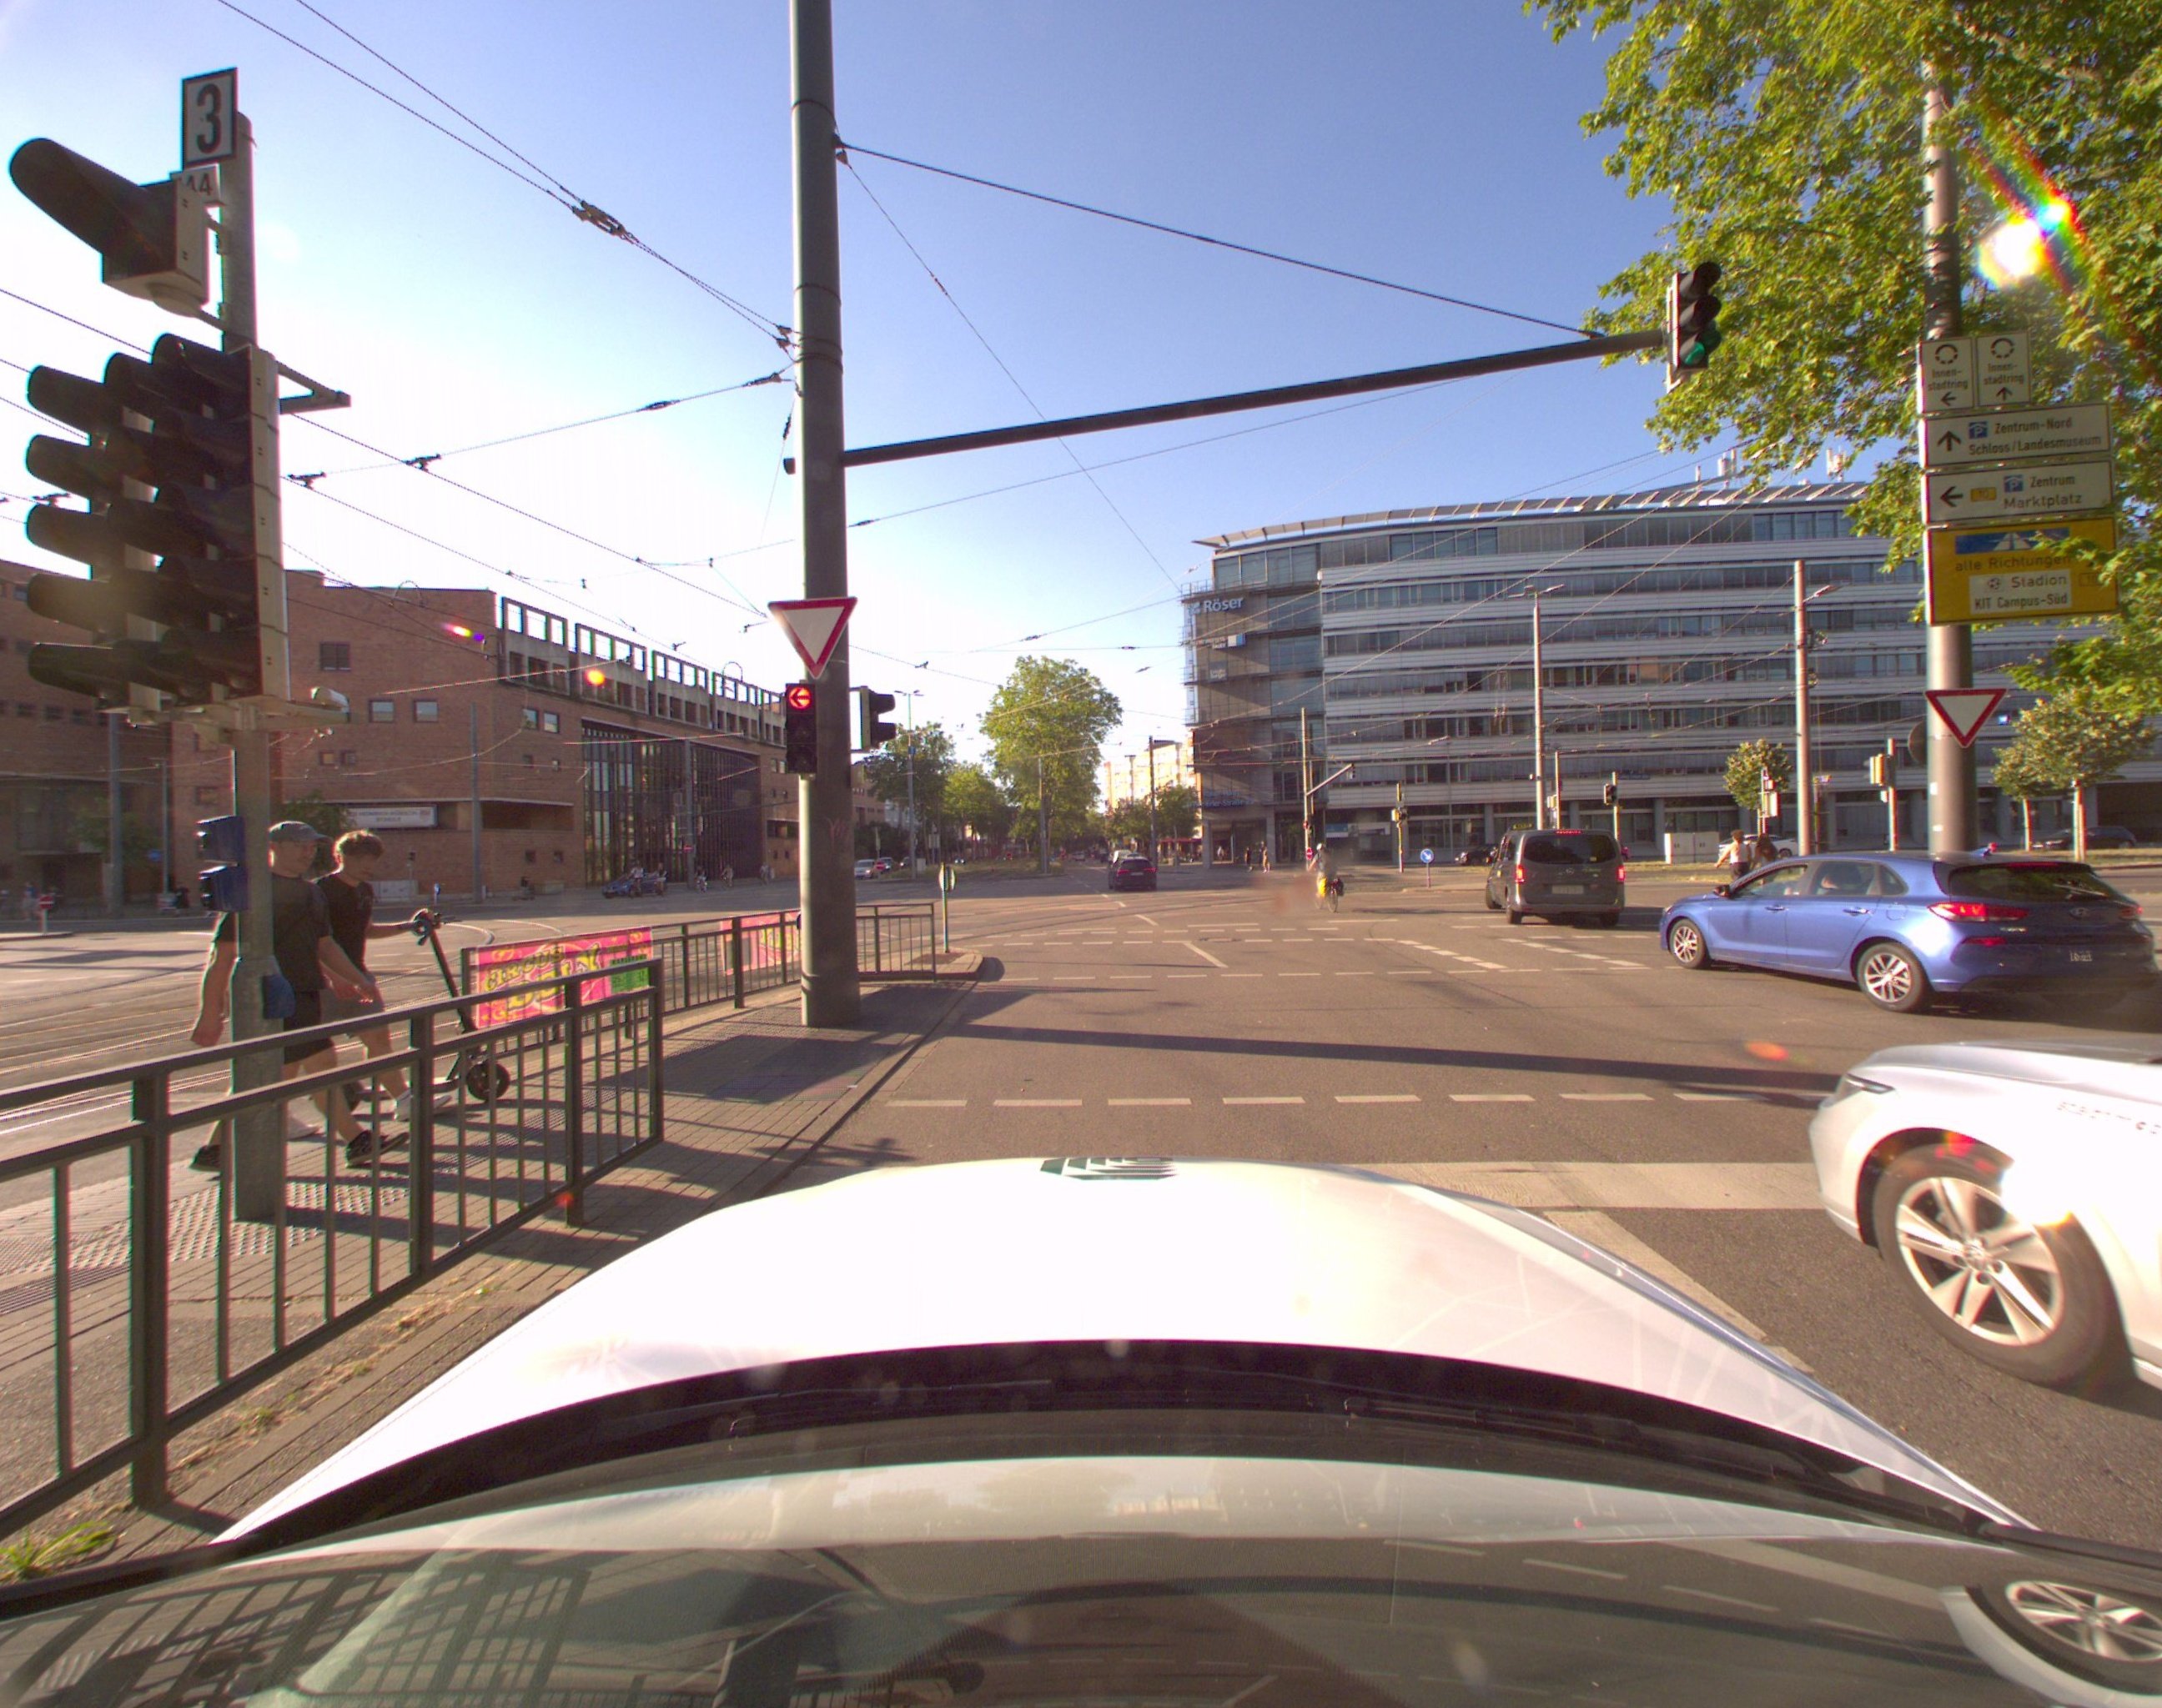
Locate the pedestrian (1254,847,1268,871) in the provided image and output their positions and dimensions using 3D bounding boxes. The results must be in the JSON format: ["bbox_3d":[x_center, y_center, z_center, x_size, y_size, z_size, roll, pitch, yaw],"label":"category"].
[{"bbox_3d":[13.162,0.353,59.529,0.866,1.707,0.794,0,-1,1],"label":"pedestrian"}]

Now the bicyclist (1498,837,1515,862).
[{"bbox_3d":[25.628,-0.262,49.051,0.660,1.503,0.614,-2,0,7],"label":"bicyclist"}]

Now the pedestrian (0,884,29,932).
[{"bbox_3d":[-45.661,2.282,34.549,0.782,1.983,0.927,-2,0,0],"label":"pedestrian"}]

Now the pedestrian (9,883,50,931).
[{"bbox_3d":[-45.698,2.289,35.400,0.782,1.983,0.751,-2,0,-1],"label":"pedestrian"}]

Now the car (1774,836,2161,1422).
[{"bbox_3d":[3.446,0.680,1.138,1.740,1.418,4.004,-1,1,4],"label":"car"}]

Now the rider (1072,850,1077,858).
[{"bbox_3d":[-1.572,0.086,206.341,1.268,2.014,0.954,0,-1,-5],"label":"rider"}]

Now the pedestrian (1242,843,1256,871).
[{"bbox_3d":[12.301,0.233,59.564,0.846,2.014,0.708,0,-1,1],"label":"pedestrian"}]

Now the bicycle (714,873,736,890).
[{"bbox_3d":[-24.168,1.857,55.347,0.650,1.050,2.010,-1,0,-3],"label":"bicycle"}]

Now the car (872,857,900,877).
[{"bbox_3d":[-18.070,1.185,75.660,1.819,1.790,3.994,-2,0,-4],"label":"car"}]

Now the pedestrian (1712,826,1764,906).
[{"bbox_3d":[14.858,0.257,18.444,0.671,1.759,0.746,-2,0,22],"label":"pedestrian"}]

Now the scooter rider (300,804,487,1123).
[{"bbox_3d":[-4.281,0.650,5.107,0.563,1.853,0.681,-2,-2,6],"label":"scooter rider"}]

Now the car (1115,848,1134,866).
[{"bbox_3d":[4.739,0.341,89.717,1.986,2.014,4.001,0,-1,2],"label":"car"}]

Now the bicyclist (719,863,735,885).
[{"bbox_3d":[-24.204,1.340,55.644,0.652,1.474,1.031,-1,-1,-3],"label":"bicyclist"}]

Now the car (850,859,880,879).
[{"bbox_3d":[-17.961,1.225,67.888,1.618,1.577,3.994,-2,0,-4],"label":"car"}]

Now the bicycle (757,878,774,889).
[{"bbox_3d":[-24.123,2.251,62.225,0.588,0.771,1.966,-2,0,-2],"label":"bicycle"}]

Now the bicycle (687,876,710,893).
[{"bbox_3d":[-24.137,1.907,51.419,0.692,0.998,1.898,-2,0,-5],"label":"bicycle"}]

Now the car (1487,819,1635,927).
[{"bbox_3d":[9.790,0.324,17.021,1.983,1.896,4.909,-1,0,23],"label":"car"}]

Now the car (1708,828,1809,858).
[{"bbox_3d":[37.554,-0.579,45.232,3.968,1.596,1.884,0,-1,5],"label":"car"}]

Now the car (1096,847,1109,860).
[{"bbox_3d":[3.304,-0.033,126.698,1.986,2.014,4.001,0,-1,2],"label":"car"}]

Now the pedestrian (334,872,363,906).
[{"bbox_3d":[-45.877,2.199,50.998,1.003,2.052,0.850,-2,0,-1],"label":"pedestrian"}]

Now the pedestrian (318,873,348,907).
[{"bbox_3d":[-45.795,2.189,49.866,1.003,2.052,0.850,-2,0,-1],"label":"pedestrian"}]

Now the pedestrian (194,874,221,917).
[{"bbox_3d":[-41.908,1.972,39.072,0.615,2.013,0.726,-2,0,-28],"label":"pedestrian"}]

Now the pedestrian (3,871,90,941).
[{"bbox_3d":[-30.887,1.542,24.349,1.029,2.014,1.208,0,-1,1],"label":"pedestrian"}]

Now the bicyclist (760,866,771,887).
[{"bbox_3d":[-24.147,1.725,62.273,0.585,1.625,0.514,-2,0,-3],"label":"bicyclist"}]

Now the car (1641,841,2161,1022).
[{"bbox_3d":[8.273,0.628,8.768,1.741,1.459,4.215,-1,0,3],"label":"car"}]

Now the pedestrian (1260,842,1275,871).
[{"bbox_3d":[13.253,0.186,57.856,0.866,2.014,0.794,0,-1,1],"label":"pedestrian"}]

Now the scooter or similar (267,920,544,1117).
[{"bbox_3d":[-4.189,0.996,5.104,1.196,1.081,0.649,-2,0,5],"label":"scooter or similar"}]

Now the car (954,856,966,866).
[{"bbox_3d":[-21.062,1.220,142.050,1.673,1.607,3.994,0,-1,-4],"label":"car"}]

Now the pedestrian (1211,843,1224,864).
[{"bbox_3d":[14.095,-0.053,84.358,1.305,2.190,1.173,0,-1,8],"label":"pedestrian"}]

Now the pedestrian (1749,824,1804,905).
[{"bbox_3d":[15.525,0.234,18.191,0.677,1.759,0.746,-2,0,22],"label":"pedestrian"}]

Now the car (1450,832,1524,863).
[{"bbox_3d":[27.210,-0.408,54.615,3.972,2.014,2.001,0,-1,2],"label":"car"}]

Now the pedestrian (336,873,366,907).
[{"bbox_3d":[-44.733,2.190,49.930,1.003,2.052,0.850,-2,0,-1],"label":"pedestrian"}]

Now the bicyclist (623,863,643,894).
[{"bbox_3d":[-23.938,1.303,43.549,0.660,1.574,0.756,-2,0,-9],"label":"bicyclist"}]

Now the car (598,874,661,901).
[{"bbox_3d":[-27.177,2.001,49.133,1.574,1.376,3.718,-2,0,3],"label":"car"}]

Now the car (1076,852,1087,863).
[{"bbox_3d":[0.039,0.697,160.319,1.985,2.014,4.002,0,-3,3],"label":"car"}]

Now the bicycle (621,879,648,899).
[{"bbox_3d":[-23.963,1.866,43.761,0.653,0.998,1.895,-2,0,-9],"label":"bicycle"}]

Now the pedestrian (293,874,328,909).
[{"bbox_3d":[-45.626,2.206,48.241,1.155,2.013,0.910,-2,0,-2],"label":"pedestrian"}]

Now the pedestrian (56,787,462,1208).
[{"bbox_3d":[-4.082,0.663,4.133,1.161,1.884,0.856,-2,0,6],"label":"pedestrian"}]

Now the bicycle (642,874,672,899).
[{"bbox_3d":[-22.914,1.742,44.039,0.684,1.142,2.105,-2,2,-8],"label":"bicycle"}]

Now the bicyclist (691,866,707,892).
[{"bbox_3d":[-24.130,1.589,51.432,0.660,1.569,0.757,-2,0,-6],"label":"bicyclist"}]

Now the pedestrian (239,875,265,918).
[{"bbox_3d":[-39.379,2.001,38.685,0.615,2.013,0.726,-2,0,-29],"label":"pedestrian"}]

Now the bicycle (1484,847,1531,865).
[{"bbox_3d":[25.676,0.132,49.040,2.397,1.022,0.638,-2,0,6],"label":"bicycle"}]

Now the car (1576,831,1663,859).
[{"bbox_3d":[32.026,-0.520,48.533,3.966,1.552,1.800,0,-1,6],"label":"car"}]

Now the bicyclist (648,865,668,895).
[{"bbox_3d":[-22.930,1.388,44.127,0.681,1.560,0.757,-2,2,-8],"label":"bicyclist"}]

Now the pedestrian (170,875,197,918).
[{"bbox_3d":[-42.627,1.996,38.698,0.615,2.013,0.726,-2,0,-28],"label":"pedestrian"}]

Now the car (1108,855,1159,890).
[{"bbox_3d":[2.207,0.757,35.163,1.759,1.404,4.293,-1,0,-2],"label":"car"}]

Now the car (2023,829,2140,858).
[{"bbox_3d":[56.403,-0.567,45.974,4.097,1.596,1.884,0,-1,5],"label":"car"}]

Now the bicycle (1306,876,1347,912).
[{"bbox_3d":[5.967,0.957,19.900,0.489,0.788,1.862,-1,0,2],"label":"bicycle"}]

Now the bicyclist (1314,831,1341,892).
[{"bbox_3d":[5.953,0.180,19.659,0.485,1.439,0.616,0,0,1],"label":"bicyclist"}]

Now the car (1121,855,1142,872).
[{"bbox_3d":[5.099,0.949,82.838,2.022,1.596,4.001,0,-1,2],"label":"car"}]
